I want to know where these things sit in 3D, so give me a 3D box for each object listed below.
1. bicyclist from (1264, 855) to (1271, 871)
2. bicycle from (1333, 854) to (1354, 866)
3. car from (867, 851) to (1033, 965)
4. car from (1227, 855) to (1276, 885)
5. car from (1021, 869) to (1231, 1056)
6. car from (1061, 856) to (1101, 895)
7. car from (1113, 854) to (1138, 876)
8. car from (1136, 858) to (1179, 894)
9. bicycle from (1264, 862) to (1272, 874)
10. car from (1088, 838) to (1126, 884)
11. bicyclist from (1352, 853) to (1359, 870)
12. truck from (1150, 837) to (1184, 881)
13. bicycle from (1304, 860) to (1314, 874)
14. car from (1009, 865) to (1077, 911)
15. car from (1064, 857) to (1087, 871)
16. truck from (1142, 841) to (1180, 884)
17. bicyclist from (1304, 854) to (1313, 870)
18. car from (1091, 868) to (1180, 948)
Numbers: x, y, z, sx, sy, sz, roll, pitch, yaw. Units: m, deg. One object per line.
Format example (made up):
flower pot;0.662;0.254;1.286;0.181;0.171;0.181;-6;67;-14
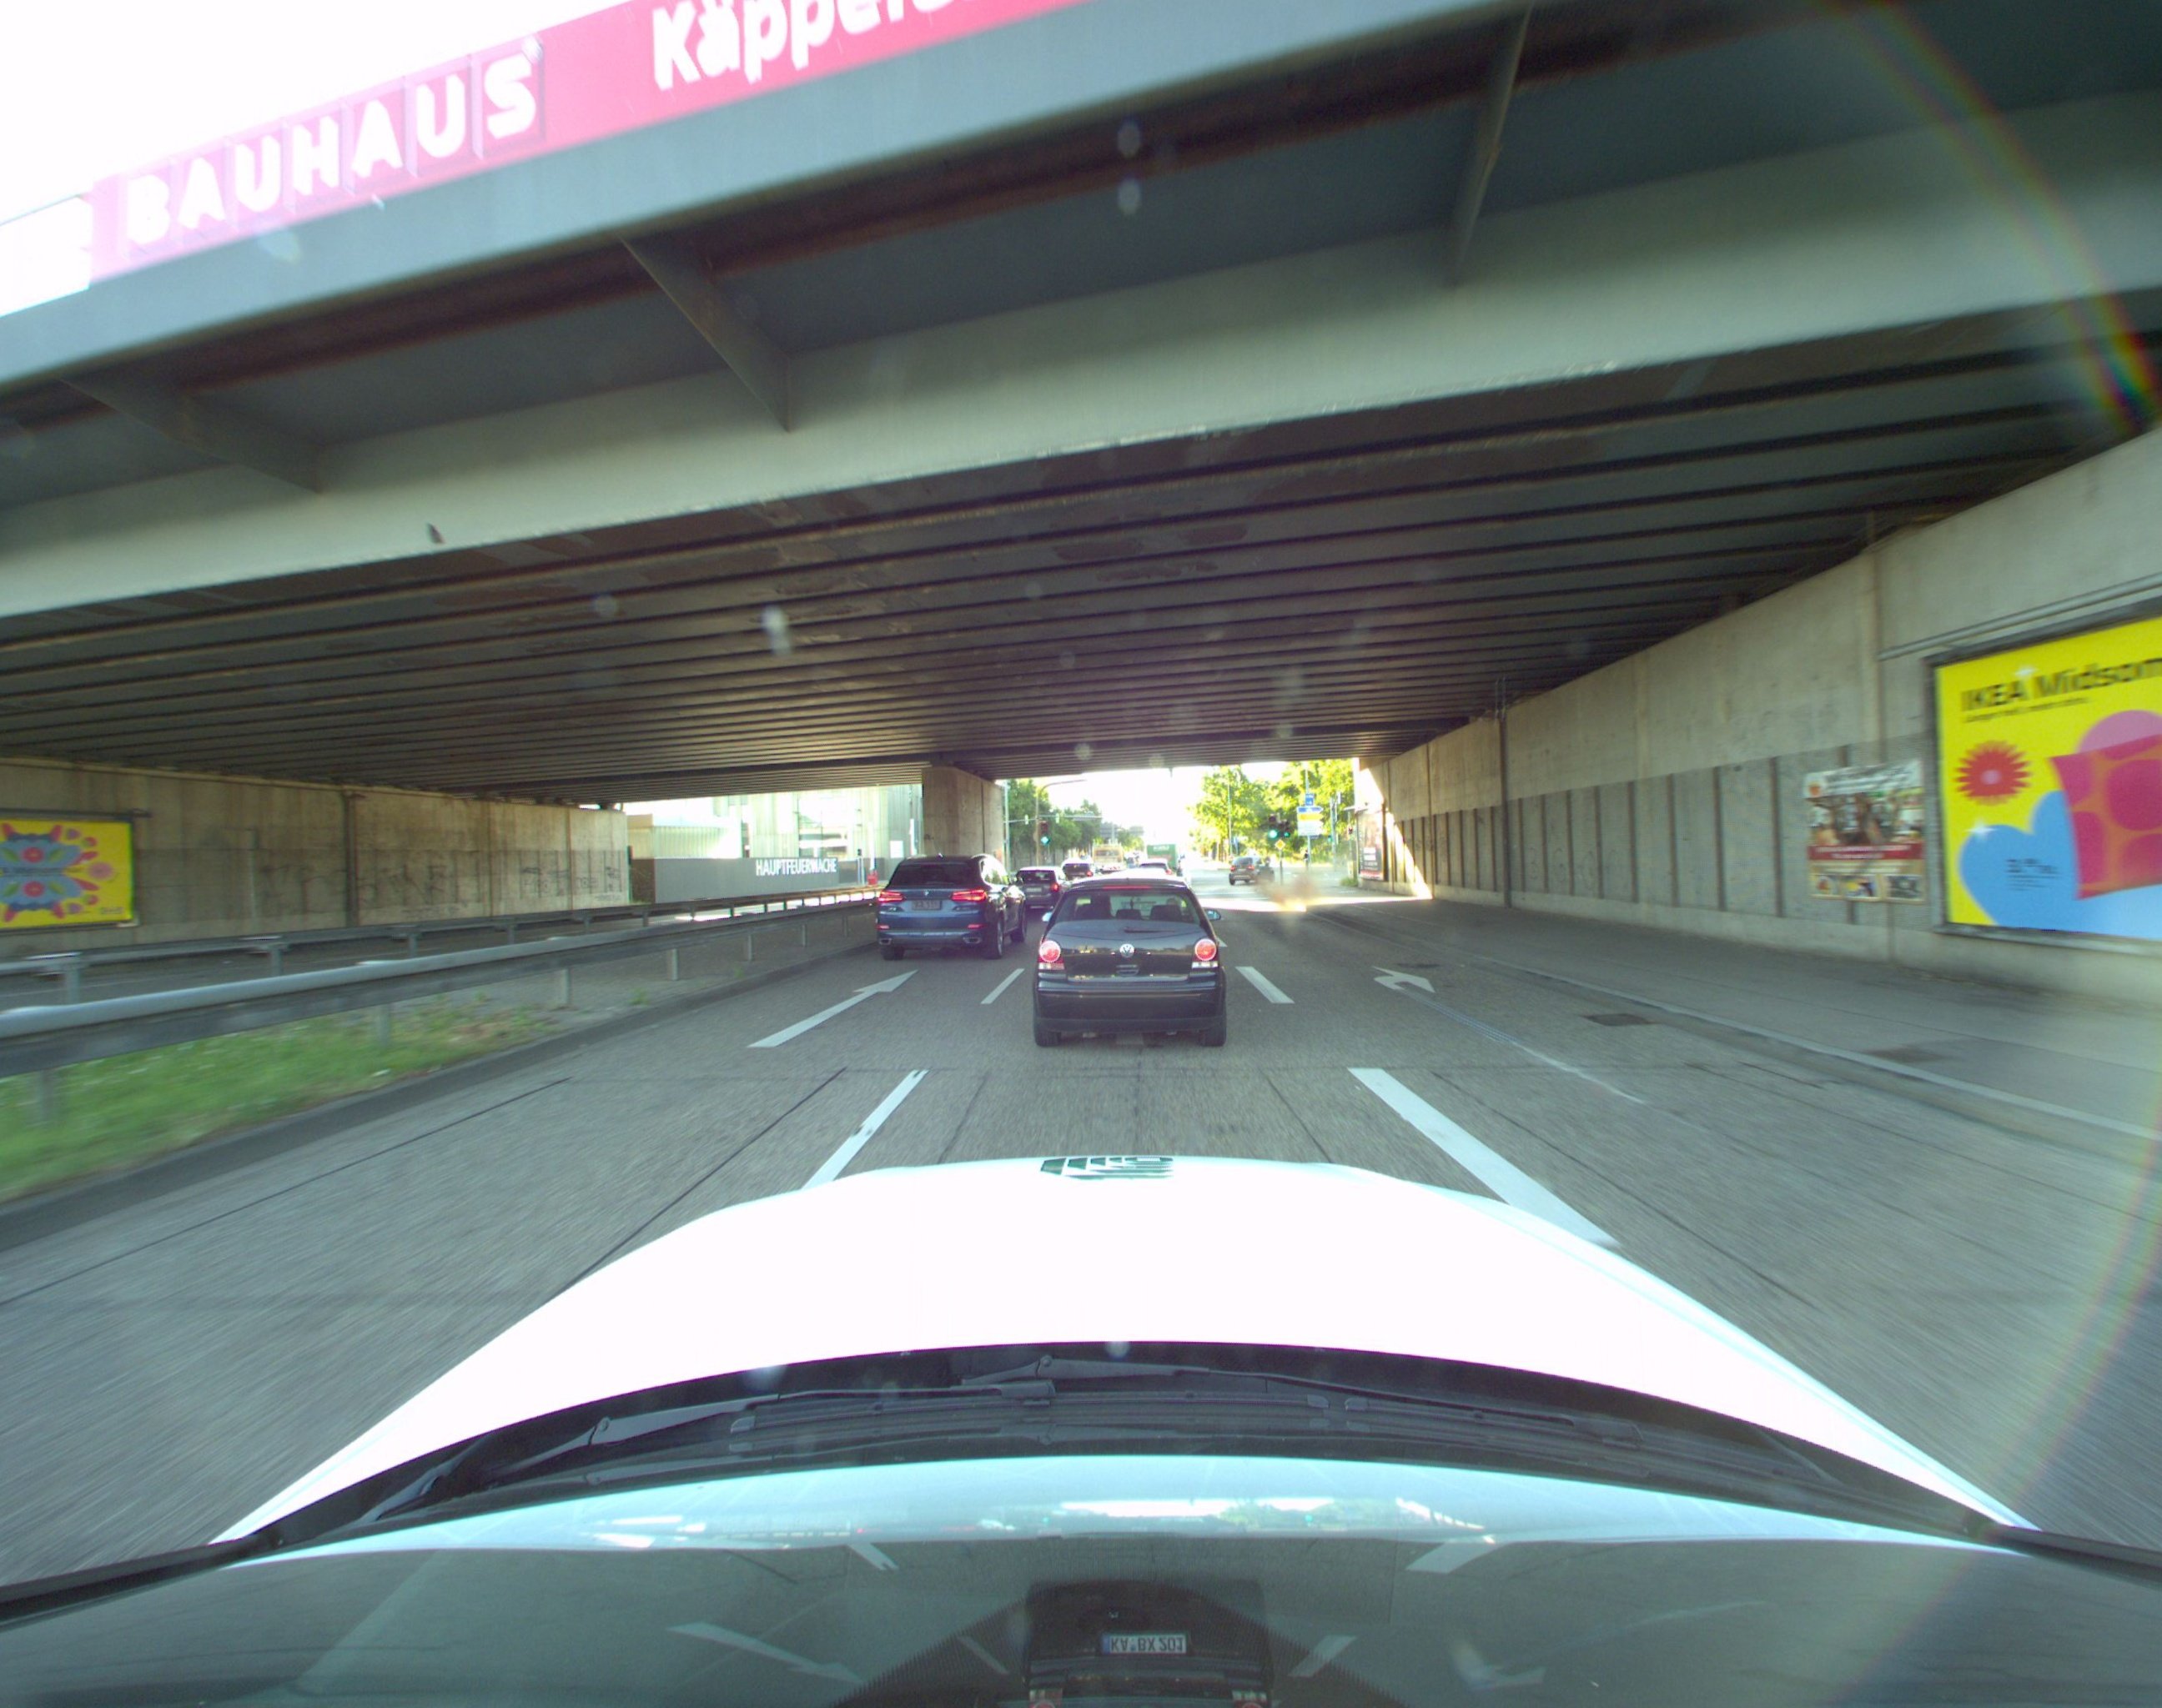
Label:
bicyclist;14.498;0.693;63.367;0.425;1.233;0.461;-2;-1;7
bicycle;23.888;0.506;74.101;1.647;0.991;0.581;-3;2;24
car;-2.142;0.858;14.735;1.985;1.734;4.537;0;-1;4
car;9.692;0.909;46.028;1.721;1.630;4.086;-1;-1;26
car;0.554;0.865;8.109;1.608;1.410;3.690;0;-1;7
car;0.043;0.983;37.974;1.610;1.679;3.686;0;-1;3
car;3.413;0.843;62.156;1.608;1.679;3.689;0;-1;7
car;3.592;1.000;37.698;1.786;1.559;4.008;0;-1;8
bicycle;14.519;1.063;63.327;0.435;0.914;1.029;-3;-1;8
car;1.606;0.454;48.334;2.128;2.576;5.090;0;-1;3
bicyclist;21.870;0.613;64.887;0.425;1.309;0.461;0;-1;7
truck;5.478;0.346;51.626;1.985;2.669;4.008;0;-1;8
bicycle;18.173;1.066;65.012;0.561;1.112;1.625;0;-1;8
car;-1.185;1.092;27.074;1.607;1.410;3.691;0;-1;8
car;-0.604;1.094;90.283;1.983;1.475;4.088;0;-1;7
truck;4.615;0.492;46.687;1.985;2.315;4.008;0;-1;8
bicyclist;18.170;0.652;64.964;0.540;1.316;0.837;0;-1;7
car;1.046;0.996;16.502;1.572;1.413;4.064;0;-1;2
